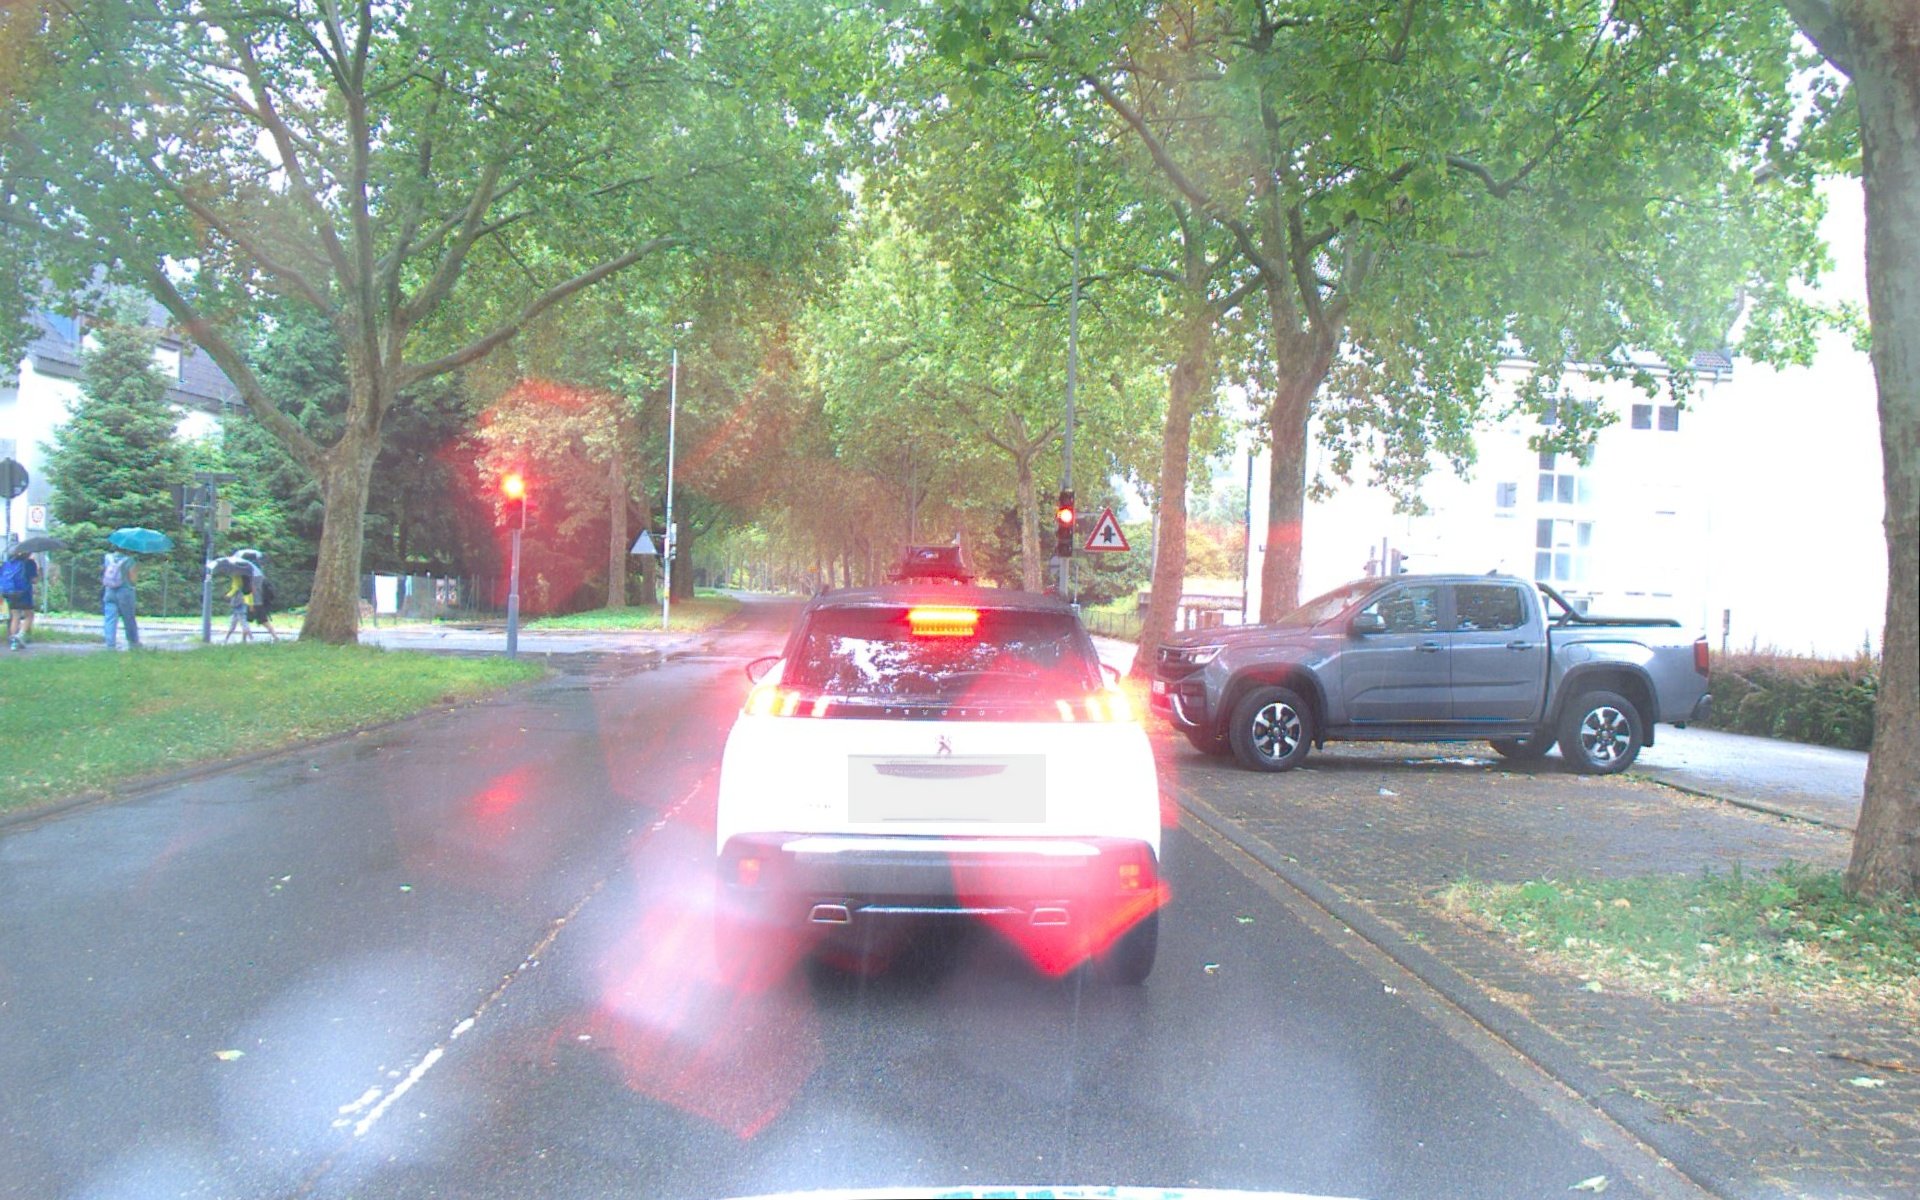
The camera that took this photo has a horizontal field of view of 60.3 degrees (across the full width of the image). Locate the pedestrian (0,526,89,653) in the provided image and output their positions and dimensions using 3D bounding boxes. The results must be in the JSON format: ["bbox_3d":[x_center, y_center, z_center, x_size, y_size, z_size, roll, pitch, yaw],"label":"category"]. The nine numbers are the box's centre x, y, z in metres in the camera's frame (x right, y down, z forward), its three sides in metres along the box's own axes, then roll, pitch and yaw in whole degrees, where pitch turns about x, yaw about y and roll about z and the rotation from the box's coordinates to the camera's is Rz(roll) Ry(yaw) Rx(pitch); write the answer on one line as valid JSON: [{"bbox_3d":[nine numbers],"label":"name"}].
[{"bbox_3d":[-13.477,-0.160,24.113,1.011,1.796,0.880,1,0,7],"label":"pedestrian"}]

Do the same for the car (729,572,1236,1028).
[{"bbox_3d":[0.040,0.687,7.825,1.744,1.563,4.056,1,0,-1],"label":"car"}]

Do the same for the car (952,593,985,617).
[{"bbox_3d":[0.541,0.350,111.831,1.868,1.536,3.927,2,0,-5],"label":"car"}]

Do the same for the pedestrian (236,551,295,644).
[{"bbox_3d":[-13.631,-0.052,32.482,0.842,1.775,0.639,2,0,-4],"label":"pedestrian"}]

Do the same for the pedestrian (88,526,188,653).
[{"bbox_3d":[-12.015,-0.153,24.198,1.012,1.796,0.838,1,0,-1],"label":"pedestrian"}]

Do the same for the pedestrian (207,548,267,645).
[{"bbox_3d":[-13.581,-0.073,31.082,0.804,1.775,0.639,2,0,-4],"label":"pedestrian"}]

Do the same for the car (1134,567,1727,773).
[{"bbox_3d":[4.463,0.641,16.026,5.238,1.838,1.842,0,0,-8],"label":"car"}]
